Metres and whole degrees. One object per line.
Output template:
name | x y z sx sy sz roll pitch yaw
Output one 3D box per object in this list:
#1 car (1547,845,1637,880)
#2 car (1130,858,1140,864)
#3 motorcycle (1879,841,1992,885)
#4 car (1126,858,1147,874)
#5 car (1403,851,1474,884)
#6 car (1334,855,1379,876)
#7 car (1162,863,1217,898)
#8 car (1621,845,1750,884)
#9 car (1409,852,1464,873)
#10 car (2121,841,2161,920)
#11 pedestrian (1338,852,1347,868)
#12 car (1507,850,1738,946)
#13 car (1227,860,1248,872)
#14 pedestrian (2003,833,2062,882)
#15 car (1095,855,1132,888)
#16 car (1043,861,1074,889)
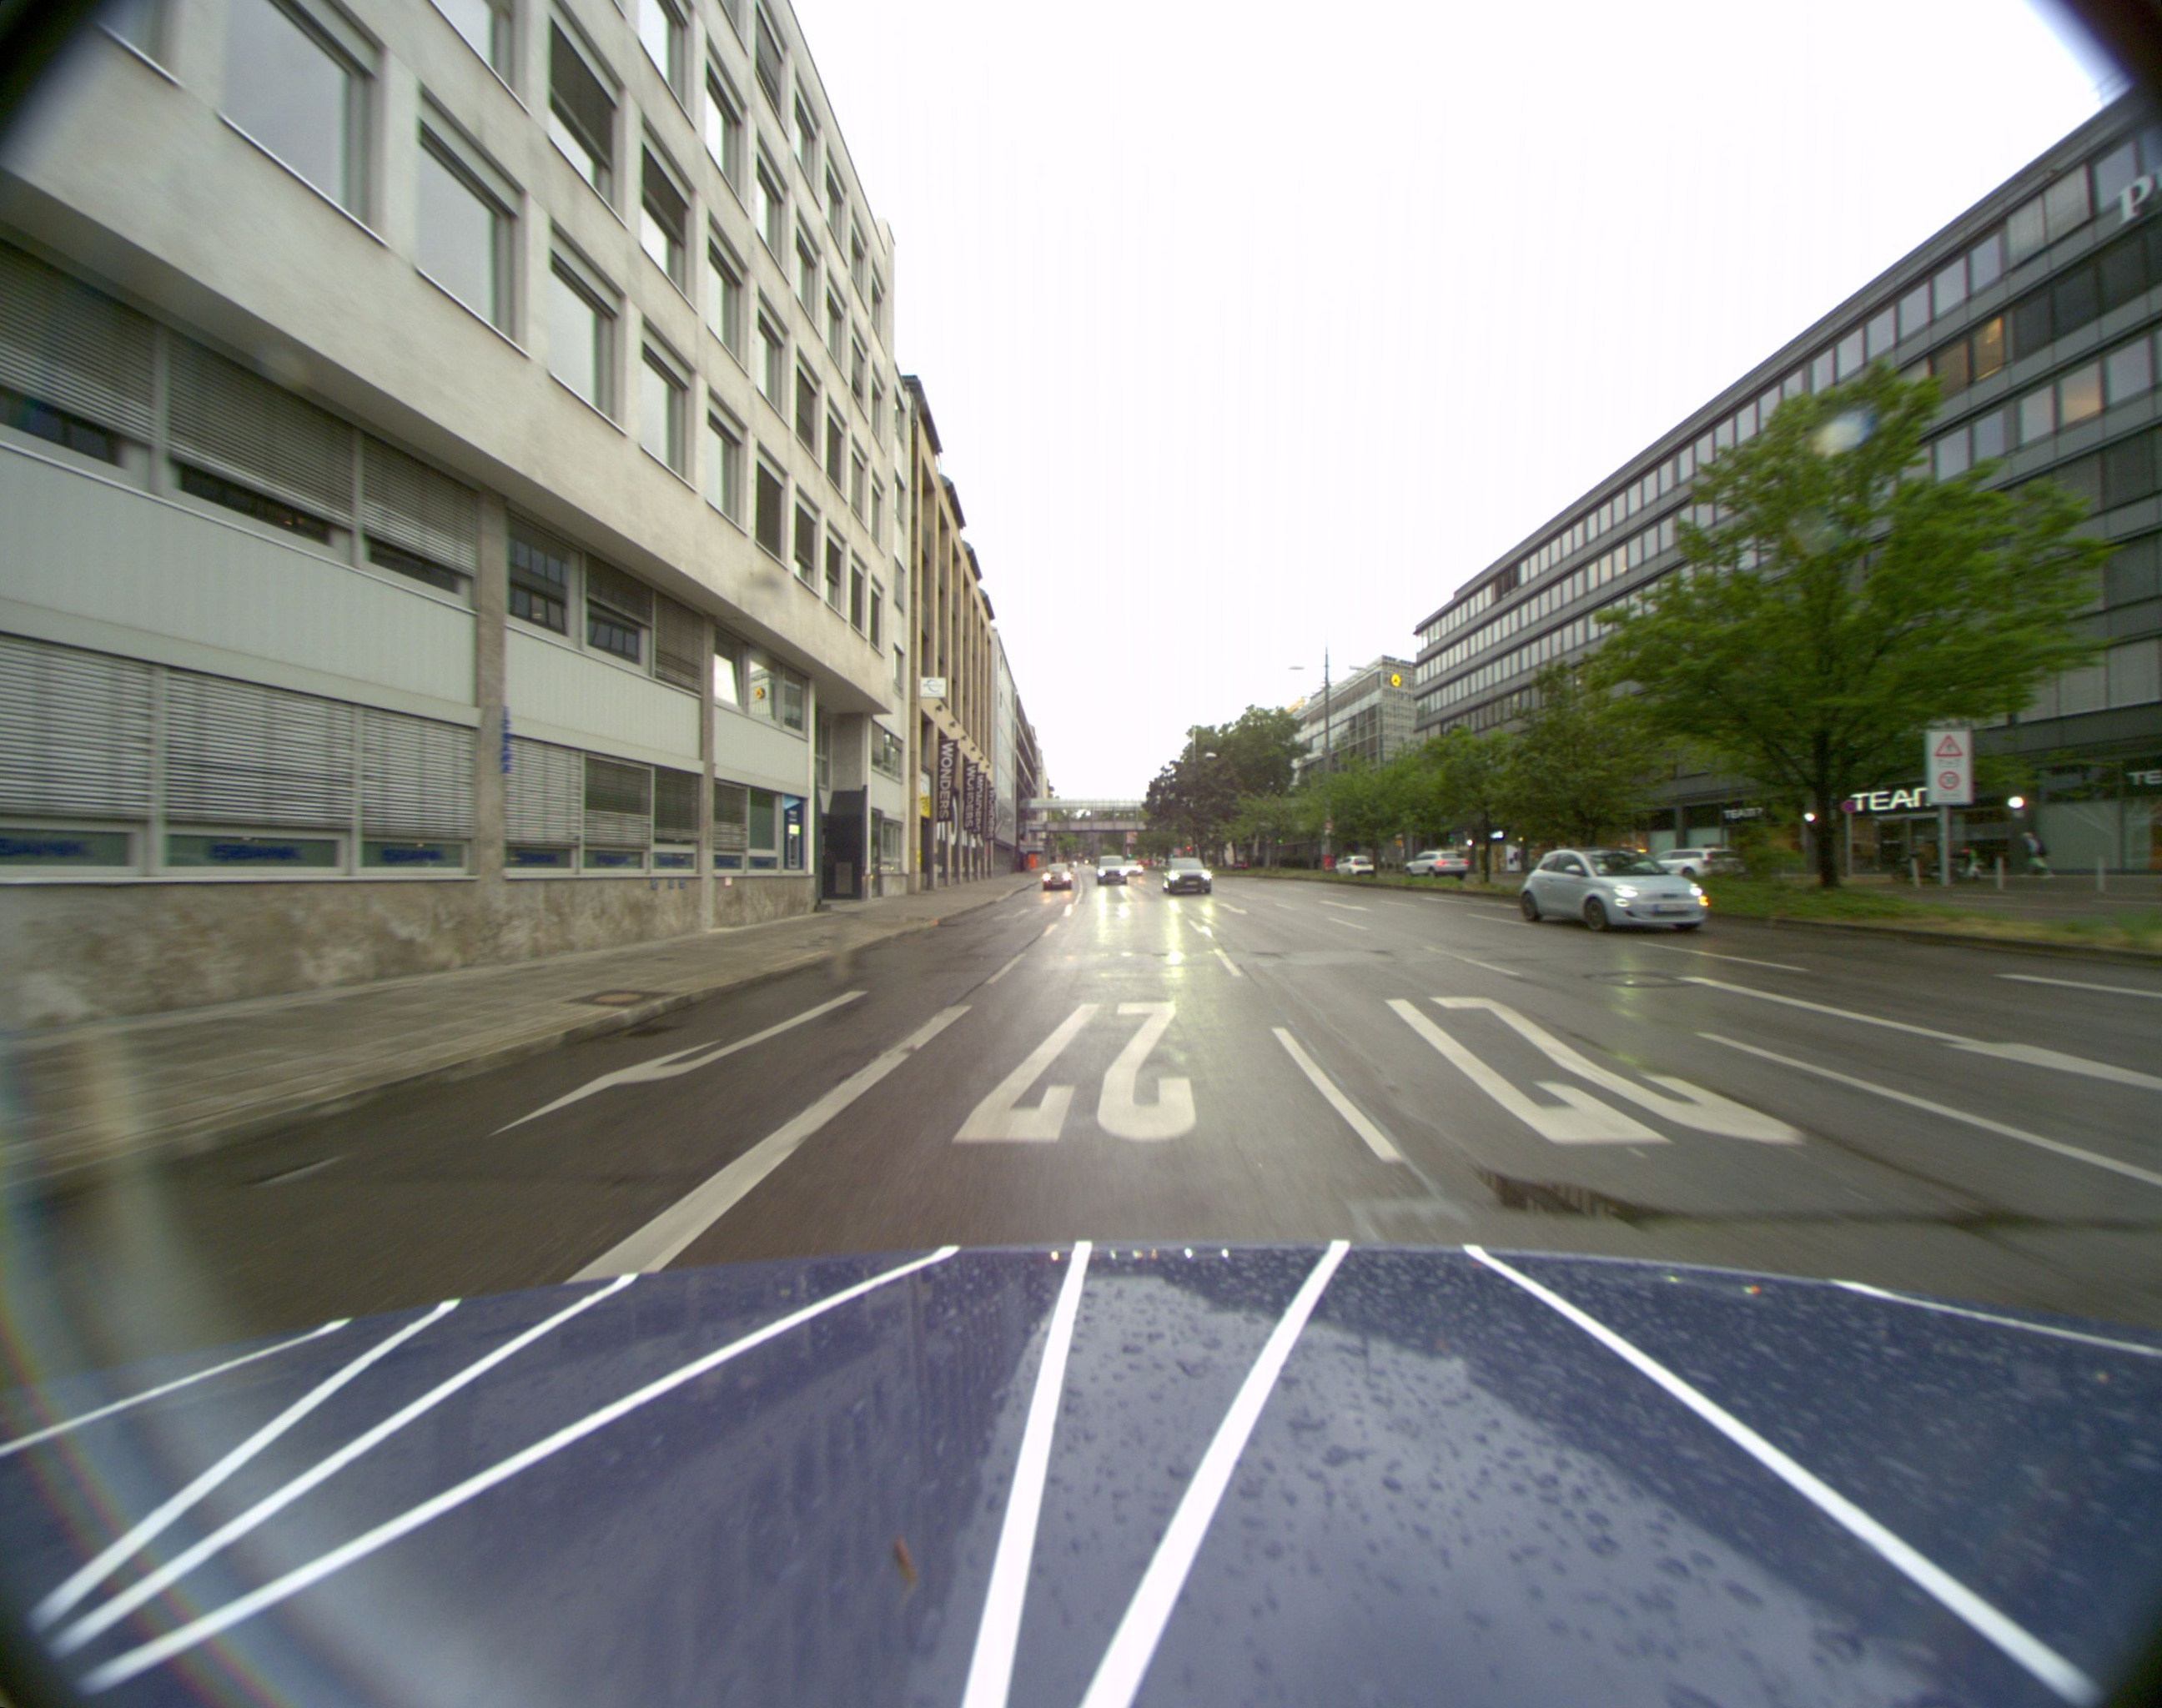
car | 26.531 0.431 39.651 1.813 1.651 4.310 -2 0 2
car | 12.299 1.539 172.597 1.732 1.303 4.076 -2 0 -3
motorcycle | 28.934 0.296 25.783 0.860 1.386 2.365 -5 2 -26
car | 5.368 1.146 74.176 1.853 1.434 3.871 -1 0 2
car | 20.430 0.741 43.685 1.742 1.717 4.492 -2 0 -3
car | 19.830 0.790 54.890 1.687 1.423 4.083 -1 0 -2
car | 4.768 1.129 33.969 1.941 1.426 4.288 -1 0 1
car | 26.472 0.440 33.506 1.813 1.476 4.773 -4 0 0
car | 26.212 0.622 56.194 1.814 1.436 4.309 -2 0 -3
car | 22.133 0.497 13.253 1.998 1.535 4.484 -1 0 4
pedestrian | 29.412 0.696 85.476 0.729 1.788 0.925 -2 1 0
car | 10.111 0.745 14.579 1.788 1.564 3.691 -1 0 0
car | 20.616 1.567 100.165 1.813 1.467 4.300 -1 0 -2
pedestrian | 32.678 0.130 26.114 0.785 1.628 0.966 -1 0 0
car | 2.101 1.094 50.152 2.163 2.014 5.041 -1 0 0
car | -1.295 1.176 43.950 1.666 1.464 3.483 -1 0 -1
